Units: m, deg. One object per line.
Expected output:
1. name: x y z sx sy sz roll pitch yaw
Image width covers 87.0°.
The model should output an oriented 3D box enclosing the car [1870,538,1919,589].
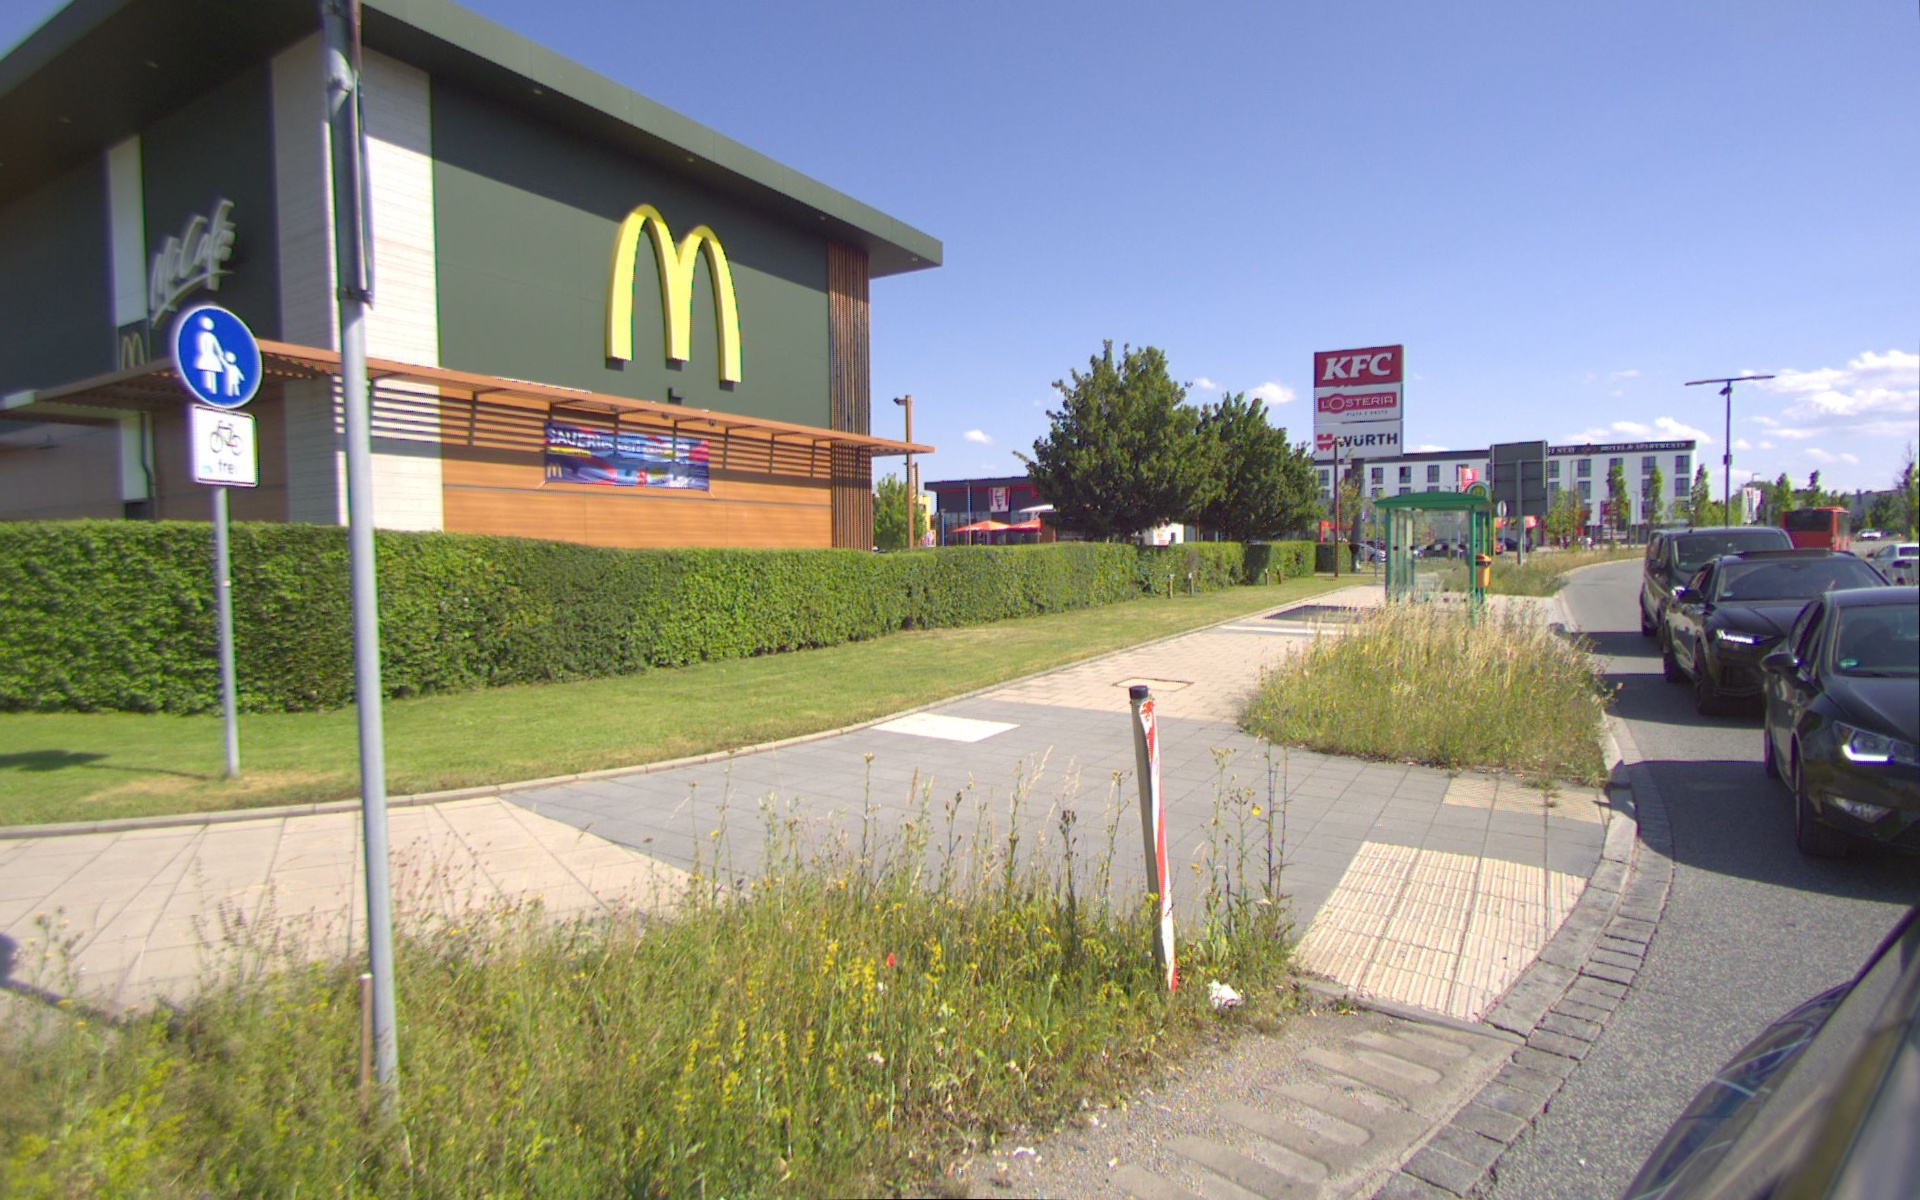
1. car: 28.539 -1.114 29.897 1.784 1.433 4.331 1 3 33

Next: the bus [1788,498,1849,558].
1. bus: 52.538 -4.298 61.902 2.607 3.281 11.709 1 3 41

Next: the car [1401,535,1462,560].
1. car: 38.658 -4.294 83.000 1.902 2.038 4.177 -3 4 -44

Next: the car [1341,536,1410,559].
1. car: 30.642 -3.867 74.722 4.420 1.672 1.907 1 3 39

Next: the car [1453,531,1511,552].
1. car: 46.457 -5.184 90.130 1.793 1.783 4.181 -3 3 -41

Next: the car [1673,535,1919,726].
1. car: 9.196 0.200 11.264 1.849 1.709 3.955 -2 2 33

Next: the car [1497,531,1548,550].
1. car: 52.014 -5.507 93.674 1.729 1.639 3.814 -3 4 -45

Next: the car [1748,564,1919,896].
1. car: 5.941 0.552 6.004 1.852 1.486 3.949 0 3 36

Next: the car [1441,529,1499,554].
1. car: 44.221 -5.088 87.847 4.174 2.038 1.903 2 4 44

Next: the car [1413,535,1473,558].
1. car: 40.388 -4.470 84.626 1.772 1.880 4.182 -3 3 -40

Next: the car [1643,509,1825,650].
1. car: 13.097 -0.412 17.421 2.065 2.073 4.630 -2 2 33
